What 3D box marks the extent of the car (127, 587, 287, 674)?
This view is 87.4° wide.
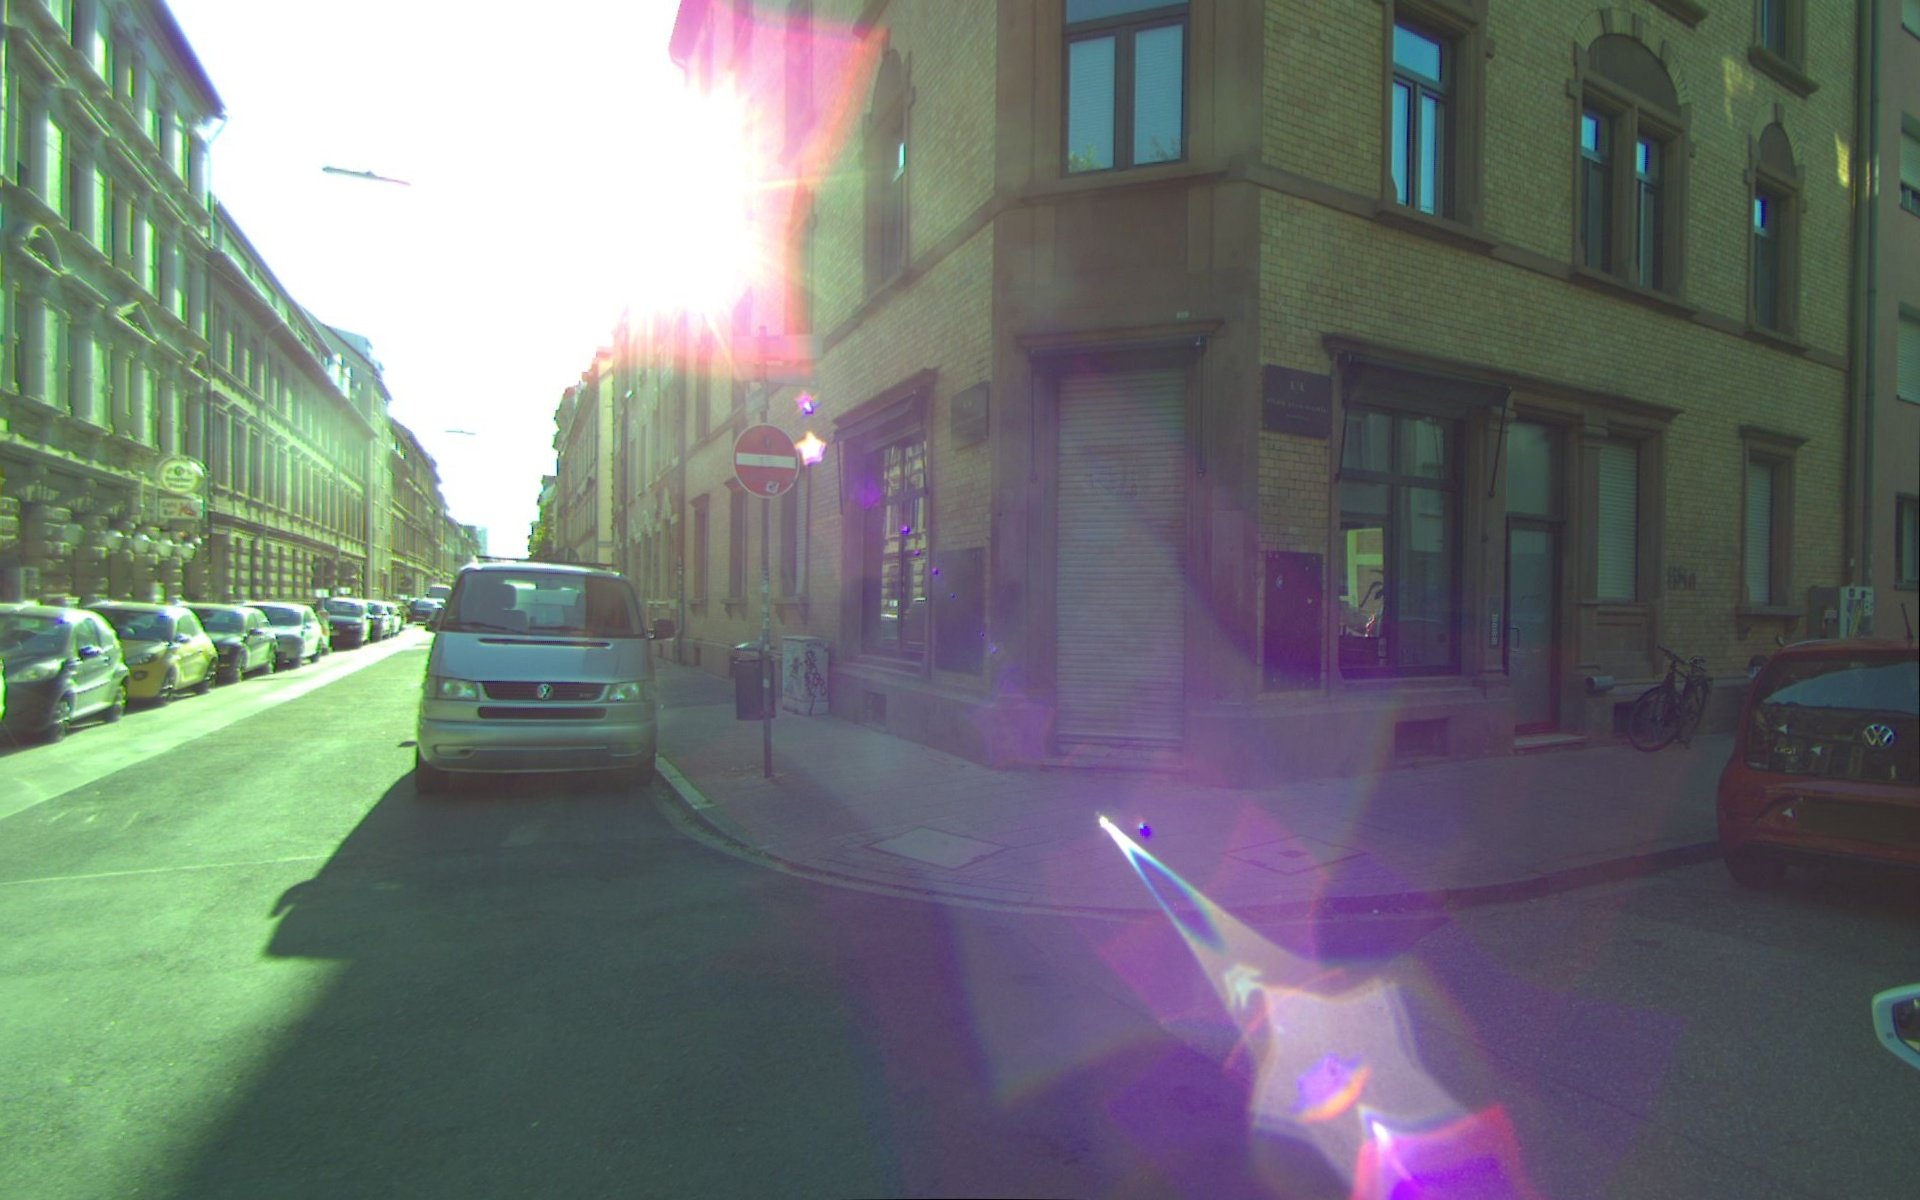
[{"bbox_3d":[-15.116,0.591,20.365,1.748,1.550,3.515,3,-2,-24],"label":"car"}]

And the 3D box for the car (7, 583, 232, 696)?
[{"bbox_3d":[-13.163,0.599,15.995,1.748,1.550,3.515,3,-2,-24],"label":"car"}]

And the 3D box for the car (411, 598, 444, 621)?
[{"bbox_3d":[-35.070,0.619,66.282,1.756,1.504,4.335,1,-1,-26],"label":"car"}]

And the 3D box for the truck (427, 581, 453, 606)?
[{"bbox_3d":[-42.474,-0.490,82.084,1.756,2.017,4.335,1,-1,-26],"label":"truck"}]

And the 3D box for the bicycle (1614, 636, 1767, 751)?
[{"bbox_3d":[7.794,0.959,10.691,1.868,1.088,0.531,1,4,-30],"label":"bicycle"}]

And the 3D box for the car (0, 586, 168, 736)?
[{"bbox_3d":[-11.172,0.625,11.984,1.748,1.550,3.671,3,-2,-24],"label":"car"}]

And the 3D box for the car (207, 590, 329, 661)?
[{"bbox_3d":[-16.842,0.603,24.620,1.748,1.550,3.515,3,-2,-24],"label":"car"}]

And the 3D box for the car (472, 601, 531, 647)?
[{"bbox_3d":[-16.126,0.812,35.252,1.756,1.504,4.335,1,-1,-26],"label":"car"}]

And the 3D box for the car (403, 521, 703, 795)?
[{"bbox_3d":[-3.905,0.463,9.616,1.999,1.919,4.699,3,-1,-24],"label":"car"}]

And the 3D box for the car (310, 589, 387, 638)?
[{"bbox_3d":[-21.283,0.476,35.092,1.748,1.550,3.515,3,-2,-24],"label":"car"}]

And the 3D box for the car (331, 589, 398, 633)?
[{"bbox_3d":[-23.277,0.435,39.347,1.748,1.550,3.515,3,-2,-24],"label":"car"}]

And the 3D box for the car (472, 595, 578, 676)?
[{"bbox_3d":[-8.888,0.656,20.337,1.756,1.461,4.335,1,-1,-26],"label":"car"}]

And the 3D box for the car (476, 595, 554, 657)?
[{"bbox_3d":[-11.904,0.665,26.730,1.756,1.504,4.335,1,-1,-26],"label":"car"}]

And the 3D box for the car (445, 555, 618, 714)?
[{"bbox_3d":[-6.201,0.478,14.655,1.913,1.919,4.339,3,-2,-23],"label":"car"}]

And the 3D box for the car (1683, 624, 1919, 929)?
[{"bbox_3d":[6.140,0.891,6.035,3.559,1.500,1.620,1,-2,-31],"label":"car"}]

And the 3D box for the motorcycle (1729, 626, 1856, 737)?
[{"bbox_3d":[9.864,0.923,11.886,1.886,1.222,0.531,1,0,-30],"label":"motorcycle"}]

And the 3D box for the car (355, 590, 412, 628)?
[{"bbox_3d":[-25.766,0.411,44.972,1.748,1.550,3.515,3,-2,-24],"label":"car"}]

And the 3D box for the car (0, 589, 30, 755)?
[{"bbox_3d":[-9.077,0.620,7.387,1.841,1.550,4.416,3,-2,-24],"label":"car"}]
